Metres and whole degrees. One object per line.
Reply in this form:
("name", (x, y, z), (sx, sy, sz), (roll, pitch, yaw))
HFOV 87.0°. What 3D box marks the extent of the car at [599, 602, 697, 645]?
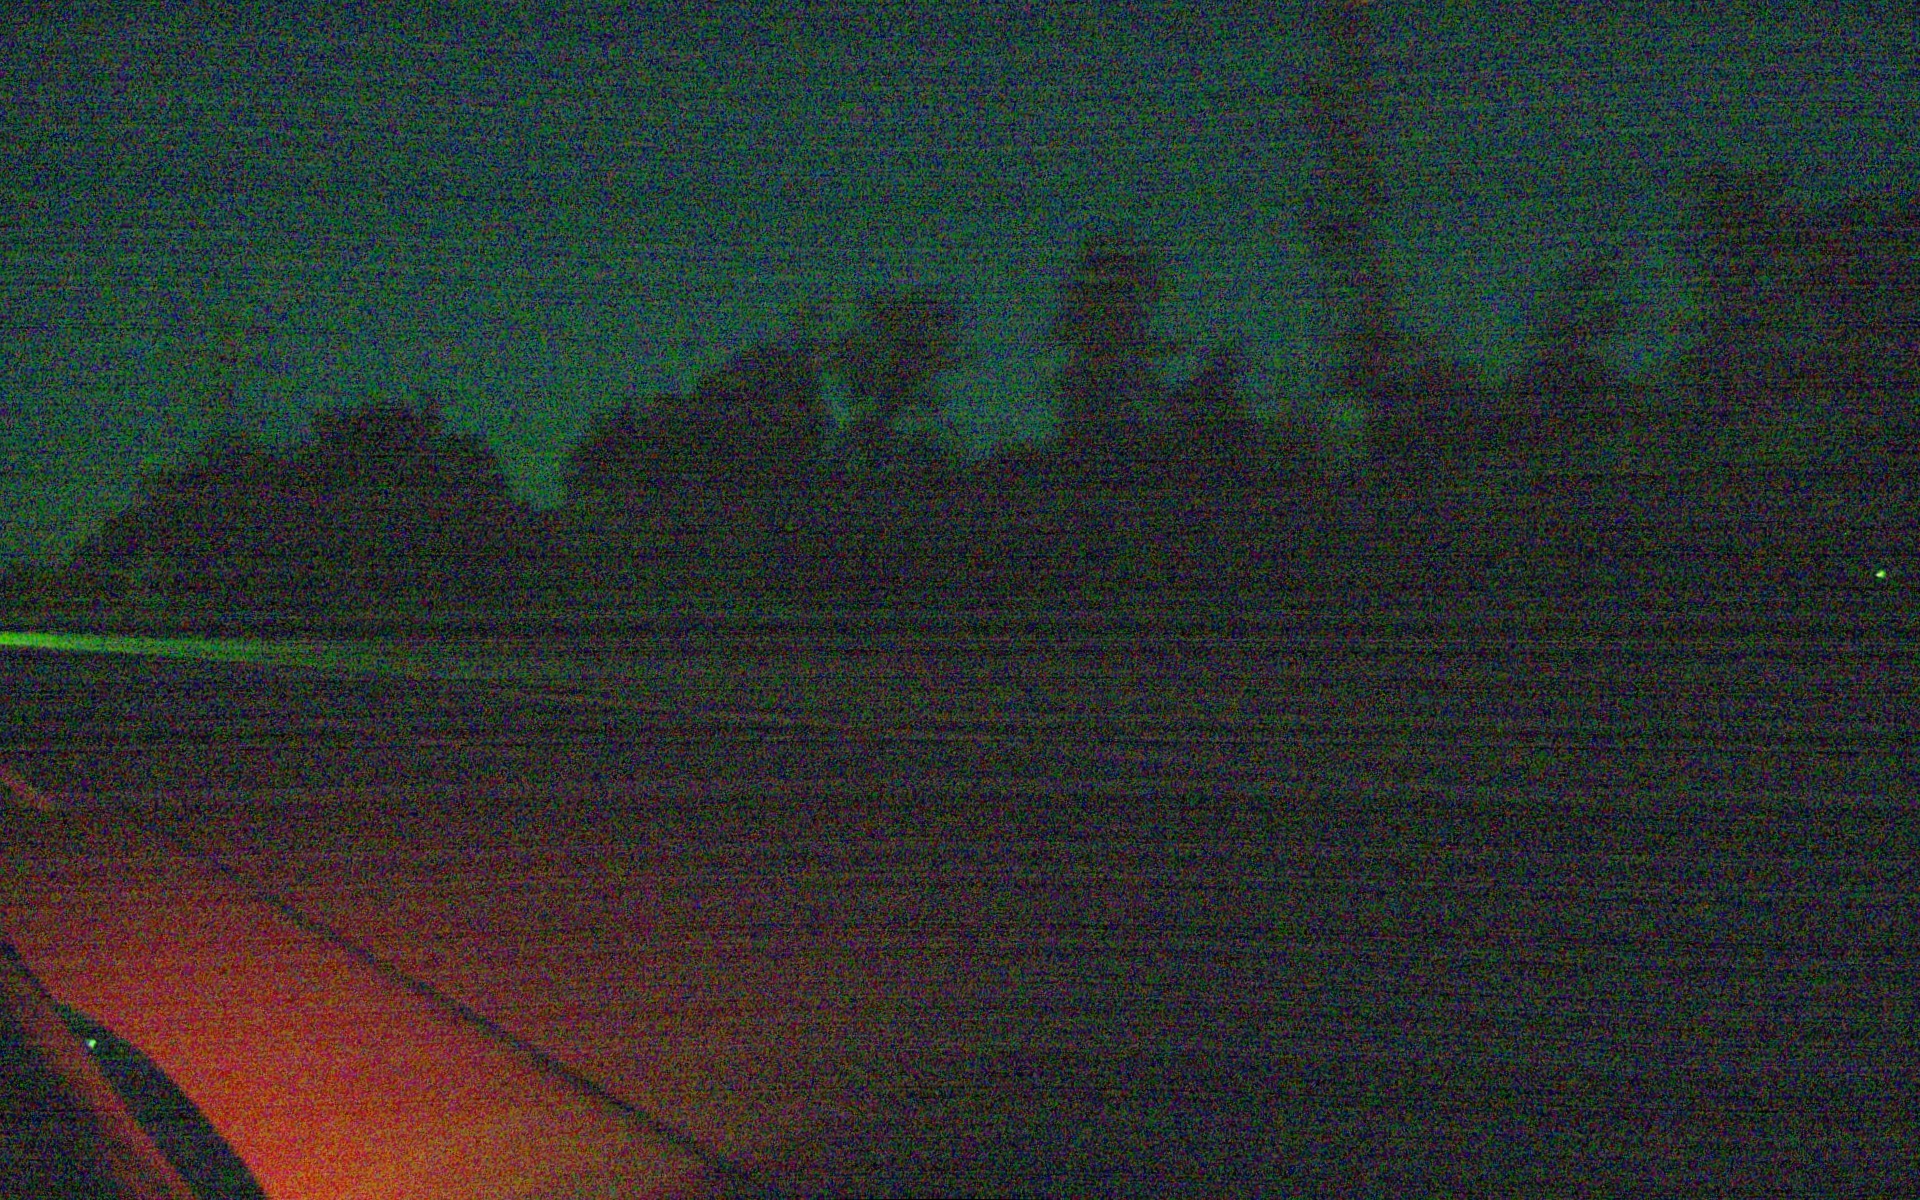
("car", (-12.348, 0.921, 39.974), (3.998, 1.573, 1.877), (-1, 0, 41))
